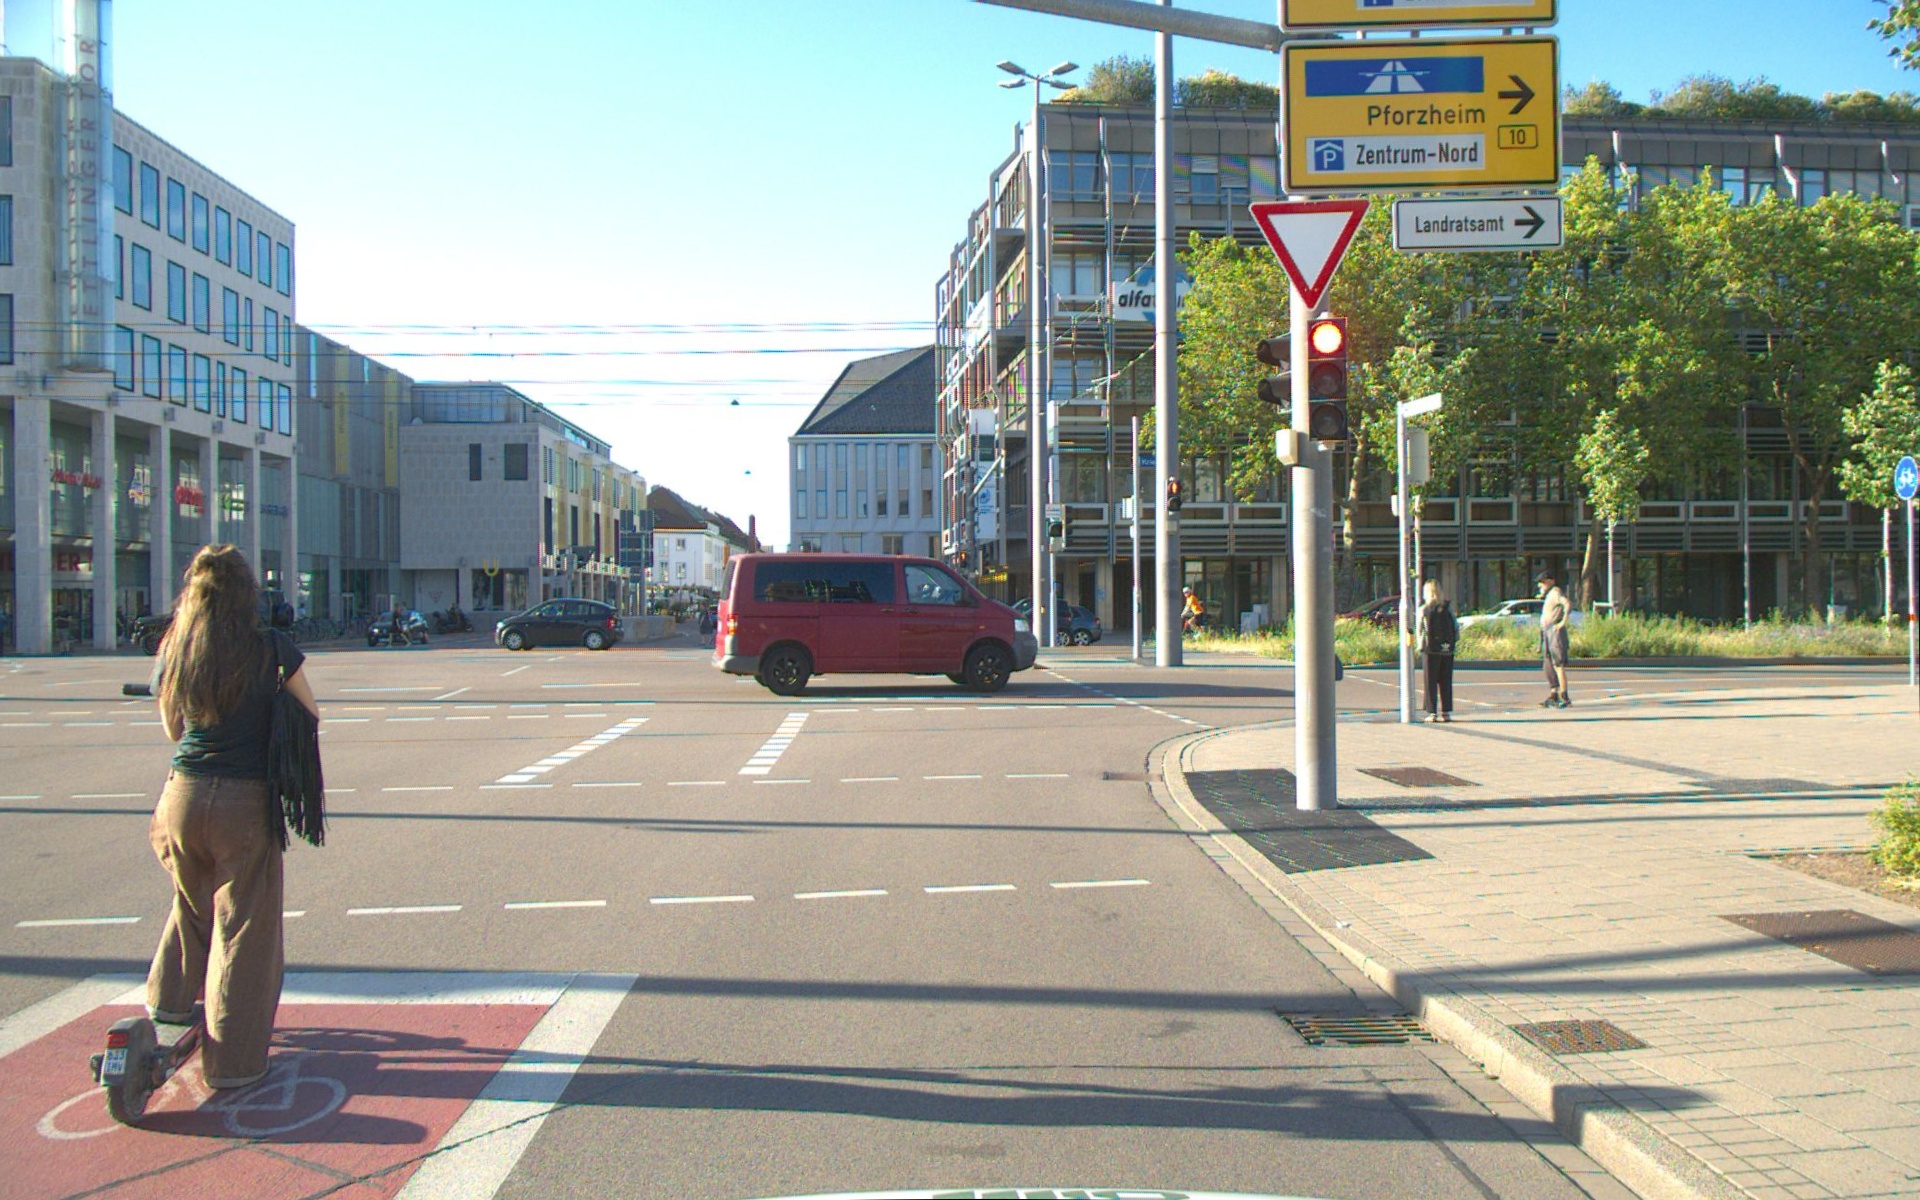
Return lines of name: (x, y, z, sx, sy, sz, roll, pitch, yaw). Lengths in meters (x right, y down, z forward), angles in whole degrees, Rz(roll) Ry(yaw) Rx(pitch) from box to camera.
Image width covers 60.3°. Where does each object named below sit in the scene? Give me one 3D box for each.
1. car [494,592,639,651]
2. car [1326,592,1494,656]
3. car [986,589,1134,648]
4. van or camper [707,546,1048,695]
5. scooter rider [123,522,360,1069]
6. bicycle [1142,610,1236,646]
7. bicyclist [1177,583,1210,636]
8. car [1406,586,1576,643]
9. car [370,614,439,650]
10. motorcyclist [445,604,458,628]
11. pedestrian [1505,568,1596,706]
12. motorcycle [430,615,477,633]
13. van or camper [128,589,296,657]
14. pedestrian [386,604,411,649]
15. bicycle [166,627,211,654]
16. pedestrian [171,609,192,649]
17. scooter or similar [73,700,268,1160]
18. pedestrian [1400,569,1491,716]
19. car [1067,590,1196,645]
car: (-11.761, 0.626, 49.603, 3.907, 1.713, 1.761, -1, 0, -2)
car: (12.661, 0.645, 46.664, 4.212, 1.713, 1.820, -1, 0, -11)
car: (3.015, 0.555, 50.483, 4.317, 1.713, 1.824, -1, 0, -4)
van or camper: (-1.257, 0.267, 24.401, 4.745, 2.049, 2.000, -1, 0, -14)
scooter rider: (-2.142, 0.554, 4.975, 0.542, 1.556, 0.448, -1, 0, -9)
bicycle: (6.517, 0.796, 47.205, 2.517, 0.992, 1.047, -1, 0, -4)
bicyclist: (6.670, 0.278, 47.225, 0.806, 1.500, 0.652, -1, 0, -5)
car: (16.592, 0.443, 51.826, 4.749, 1.713, 1.824, -1, 0, -4)
car: (-23.271, 1.323, 69.428, 1.642, 1.381, 4.019, -1, 0, -2)
motorcyclist: (-30.103, 0.947, 97.844, 0.616, 1.430, 0.661, 1, -1, -9)
pedestrian: (7.589, 0.464, 21.281, 0.854, 1.736, 0.768, -1, 0, -3)
motorcycle: (-29.903, 1.425, 97.675, 2.555, 1.010, 1.113, 1, 0, -10)
van or camper: (-23.282, 0.697, 51.626, 4.329, 2.049, 1.993, -1, 0, -5)
pedestrian: (-21.300, 0.996, 62.753, 0.761, 1.667, 0.625, -1, 0, -5)
bicycle: (-28.341, 1.479, 60.791, 0.622, 0.919, 2.218, -1, 0, 0)
pedestrian: (-32.586, 1.210, 69.214, 0.580, 1.674, 0.629, -1, 0, -1)
scooter or similar: (-2.220, 0.877, 4.703, 0.301, 1.127, 0.836, -1, 0, -12)
pedestrian: (5.567, 0.474, 19.013, 0.750, 1.642, 0.874, -1, 0, -2)
car: (5.523, 0.552, 53.678, 3.908, 1.713, 1.824, -1, 0, -4)
